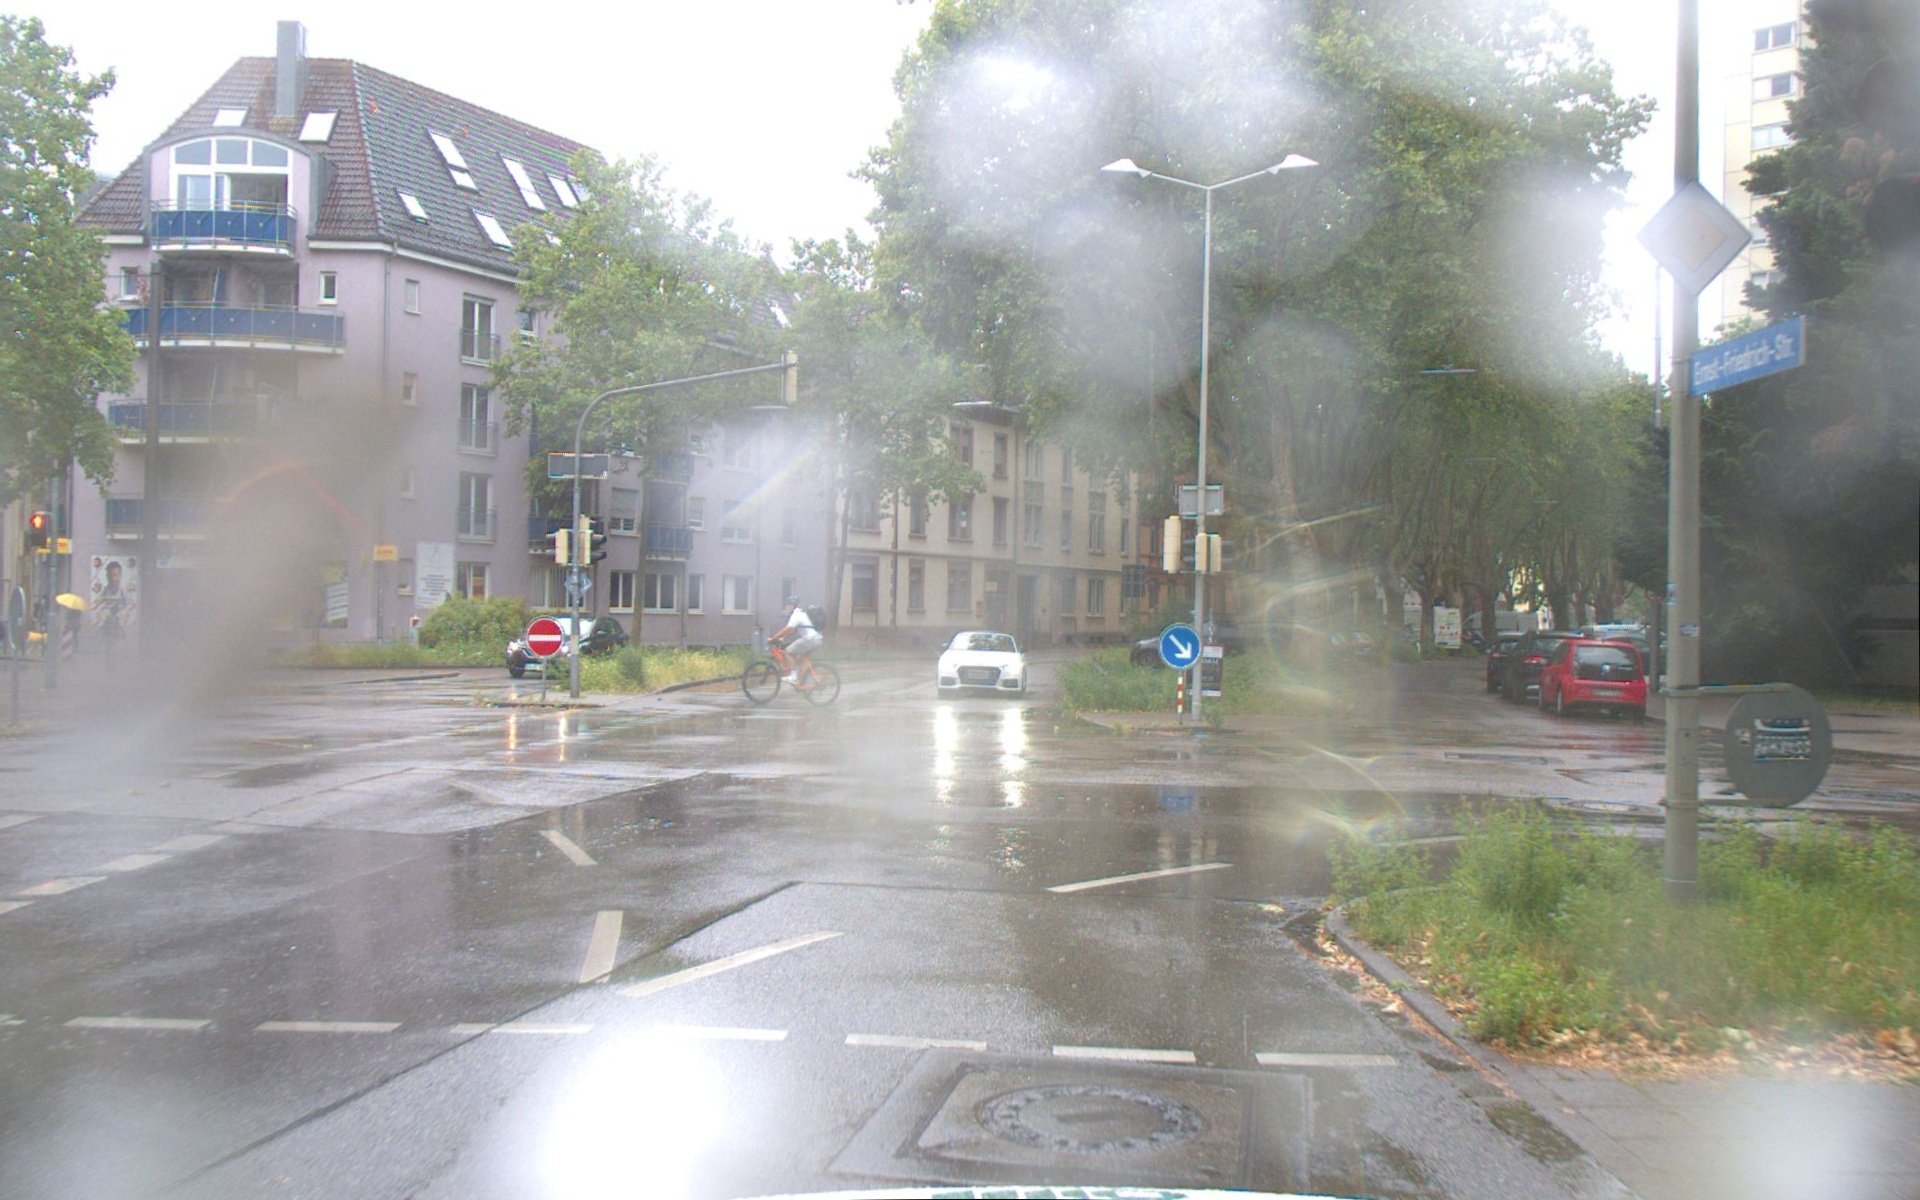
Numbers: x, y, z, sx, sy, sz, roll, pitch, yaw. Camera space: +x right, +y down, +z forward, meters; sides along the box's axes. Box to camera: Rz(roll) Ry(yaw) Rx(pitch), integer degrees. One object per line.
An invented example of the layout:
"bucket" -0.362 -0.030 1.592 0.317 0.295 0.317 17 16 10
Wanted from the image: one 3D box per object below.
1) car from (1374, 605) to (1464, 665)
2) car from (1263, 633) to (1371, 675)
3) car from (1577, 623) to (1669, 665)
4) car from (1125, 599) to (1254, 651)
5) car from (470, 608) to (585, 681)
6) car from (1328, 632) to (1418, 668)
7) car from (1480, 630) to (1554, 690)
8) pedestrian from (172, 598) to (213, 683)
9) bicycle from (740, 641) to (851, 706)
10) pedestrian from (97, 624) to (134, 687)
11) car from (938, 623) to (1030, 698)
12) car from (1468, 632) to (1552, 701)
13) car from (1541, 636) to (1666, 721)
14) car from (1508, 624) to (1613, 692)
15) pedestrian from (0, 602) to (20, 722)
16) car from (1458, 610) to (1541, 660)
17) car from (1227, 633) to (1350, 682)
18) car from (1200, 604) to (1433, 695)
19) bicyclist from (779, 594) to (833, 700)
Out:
"car" 23.470 1.766 84.742 2.005 3.000 4.741 1 -1 -21
"car" 13.450 2.029 62.358 3.902 1.512 2.002 0 -1 12
"car" 32.390 2.126 80.830 3.777 1.995 1.872 1 -1 4
"car" 6.987 0.752 50.222 3.784 1.512 1.717 0 -1 12
"car" -9.824 0.981 37.812 1.716 1.538 3.837 1 0 -2
"car" 18.836 2.275 75.564 3.902 1.574 2.002 0 -1 12
"car" 18.055 1.911 53.725 1.881 1.837 4.003 0 -1 13
"pedestrian" -17.264 0.909 37.210 0.777 1.888 0.676 1 -1 -25
"bicycle" -2.887 1.281 29.060 1.833 1.100 0.657 1 -1 7
"pedestrian" -19.509 1.266 38.192 0.643 1.420 0.773 1 -1 -35
"car" 0.517 1.264 35.678 1.846 1.461 4.000 1 0 1
"car" 14.755 1.743 44.527 1.745 1.757 4.003 0 -1 13
"car" 12.886 1.529 33.345 1.754 1.524 4.003 1 0 13
"car" 13.702 1.294 37.922 1.745 1.371 3.932 1 0 13
"pedestrian" -13.754 0.865 23.219 0.715 1.653 0.816 0 0 -8
"car" 33.083 2.152 101.544 1.974 3.000 4.719 1 -1 -32
"car" 10.810 1.869 54.438 3.902 1.512 2.002 0 -1 12
"car" 6.287 0.852 29.336 3.902 1.512 2.002 0 -1 12
"bicyclist" -2.697 0.821 29.022 0.778 1.817 0.697 1 -1 7
